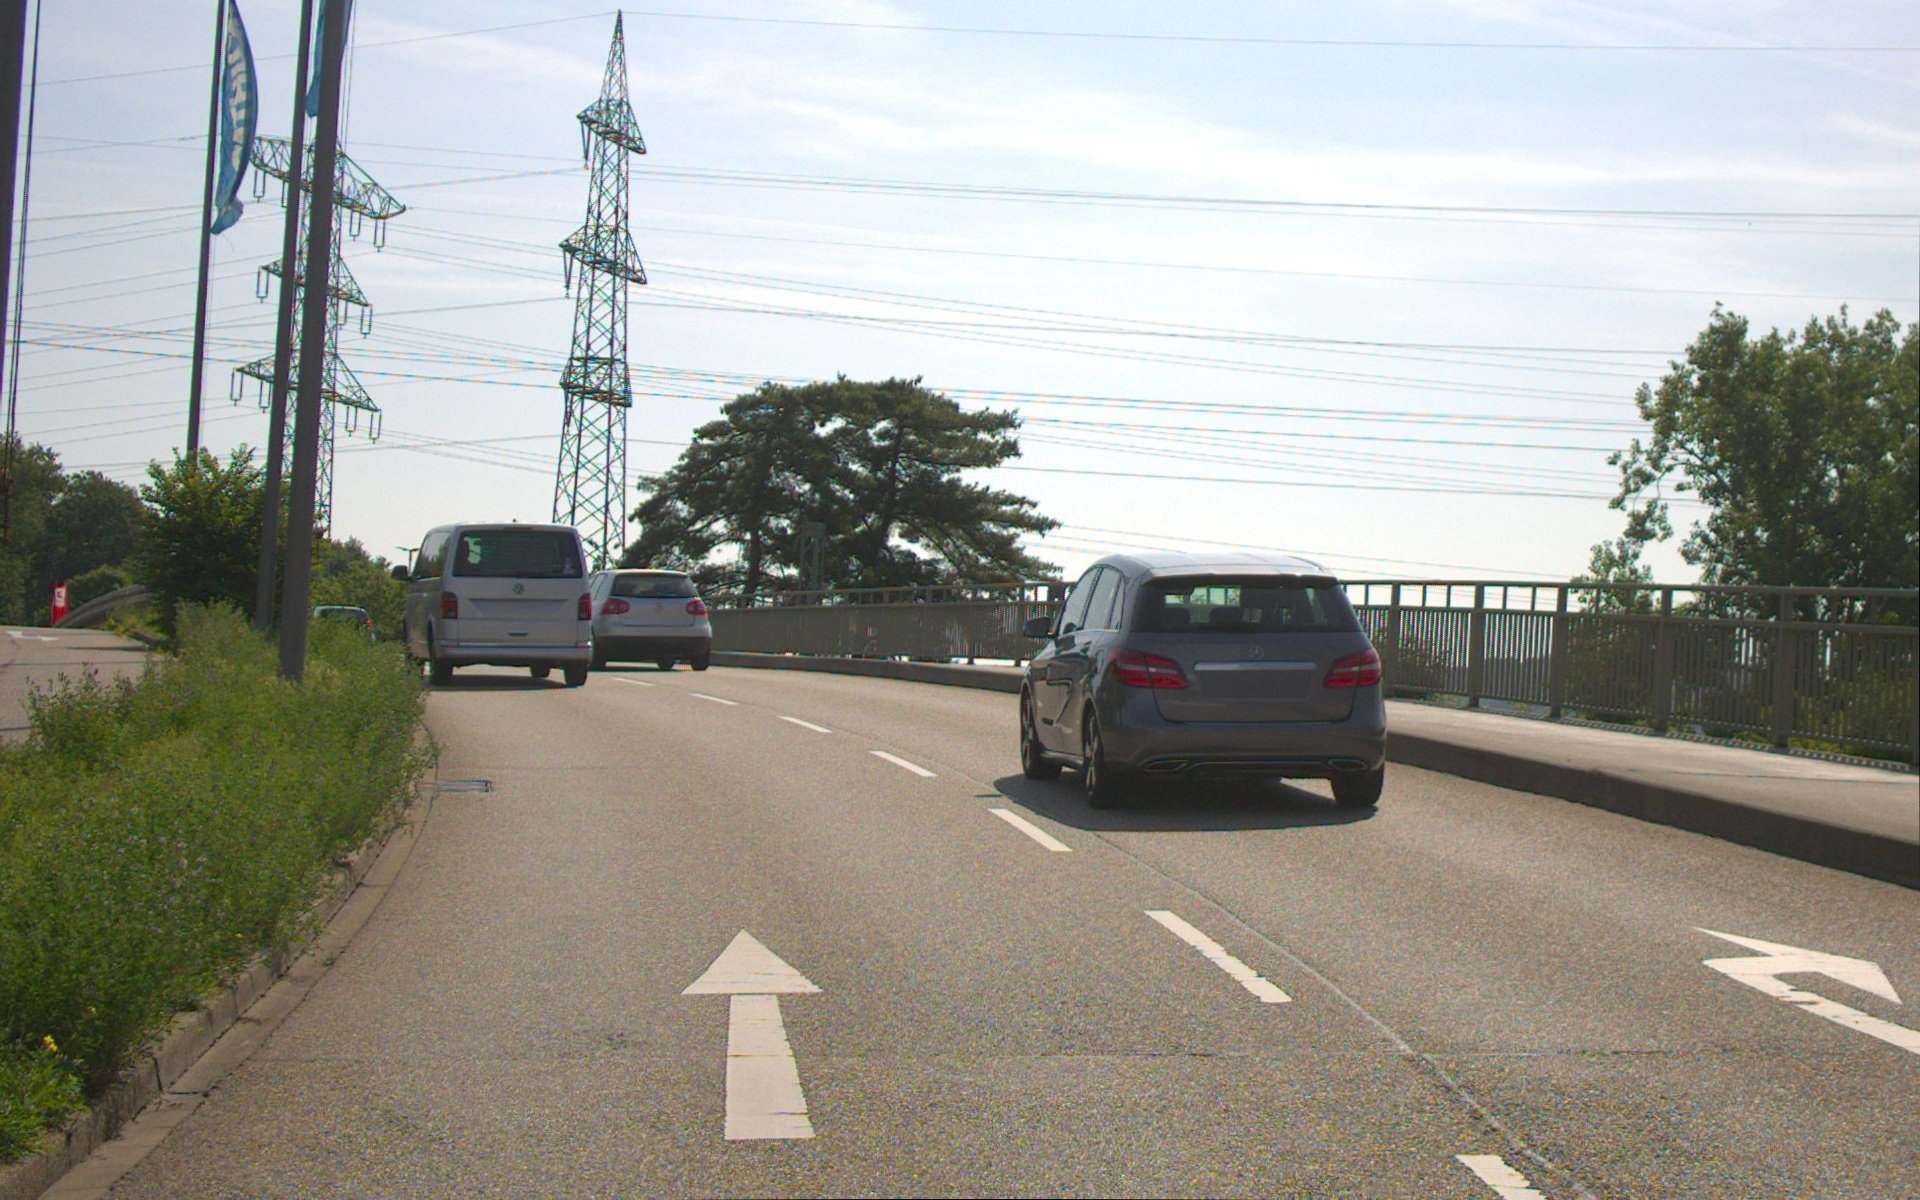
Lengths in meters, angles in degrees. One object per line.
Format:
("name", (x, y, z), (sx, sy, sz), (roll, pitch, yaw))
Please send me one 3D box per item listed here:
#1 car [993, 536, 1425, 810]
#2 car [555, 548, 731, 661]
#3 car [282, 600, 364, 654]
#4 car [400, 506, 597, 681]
("car", (1.472, 0.442, 21.982), (1.856, 1.524, 4.145), (2, -1, -8))
("car", (-4.738, 0.042, 50.940), (1.856, 1.524, 4.145), (2, 0, -15))
("car", (-16.581, 0.706, 89.410), (1.773, 1.327, 3.741), (2, -1, -15))
("car", (-5.674, -0.106, 41.912), (2.038, 2.007, 4.001), (-1, 1, -12))
